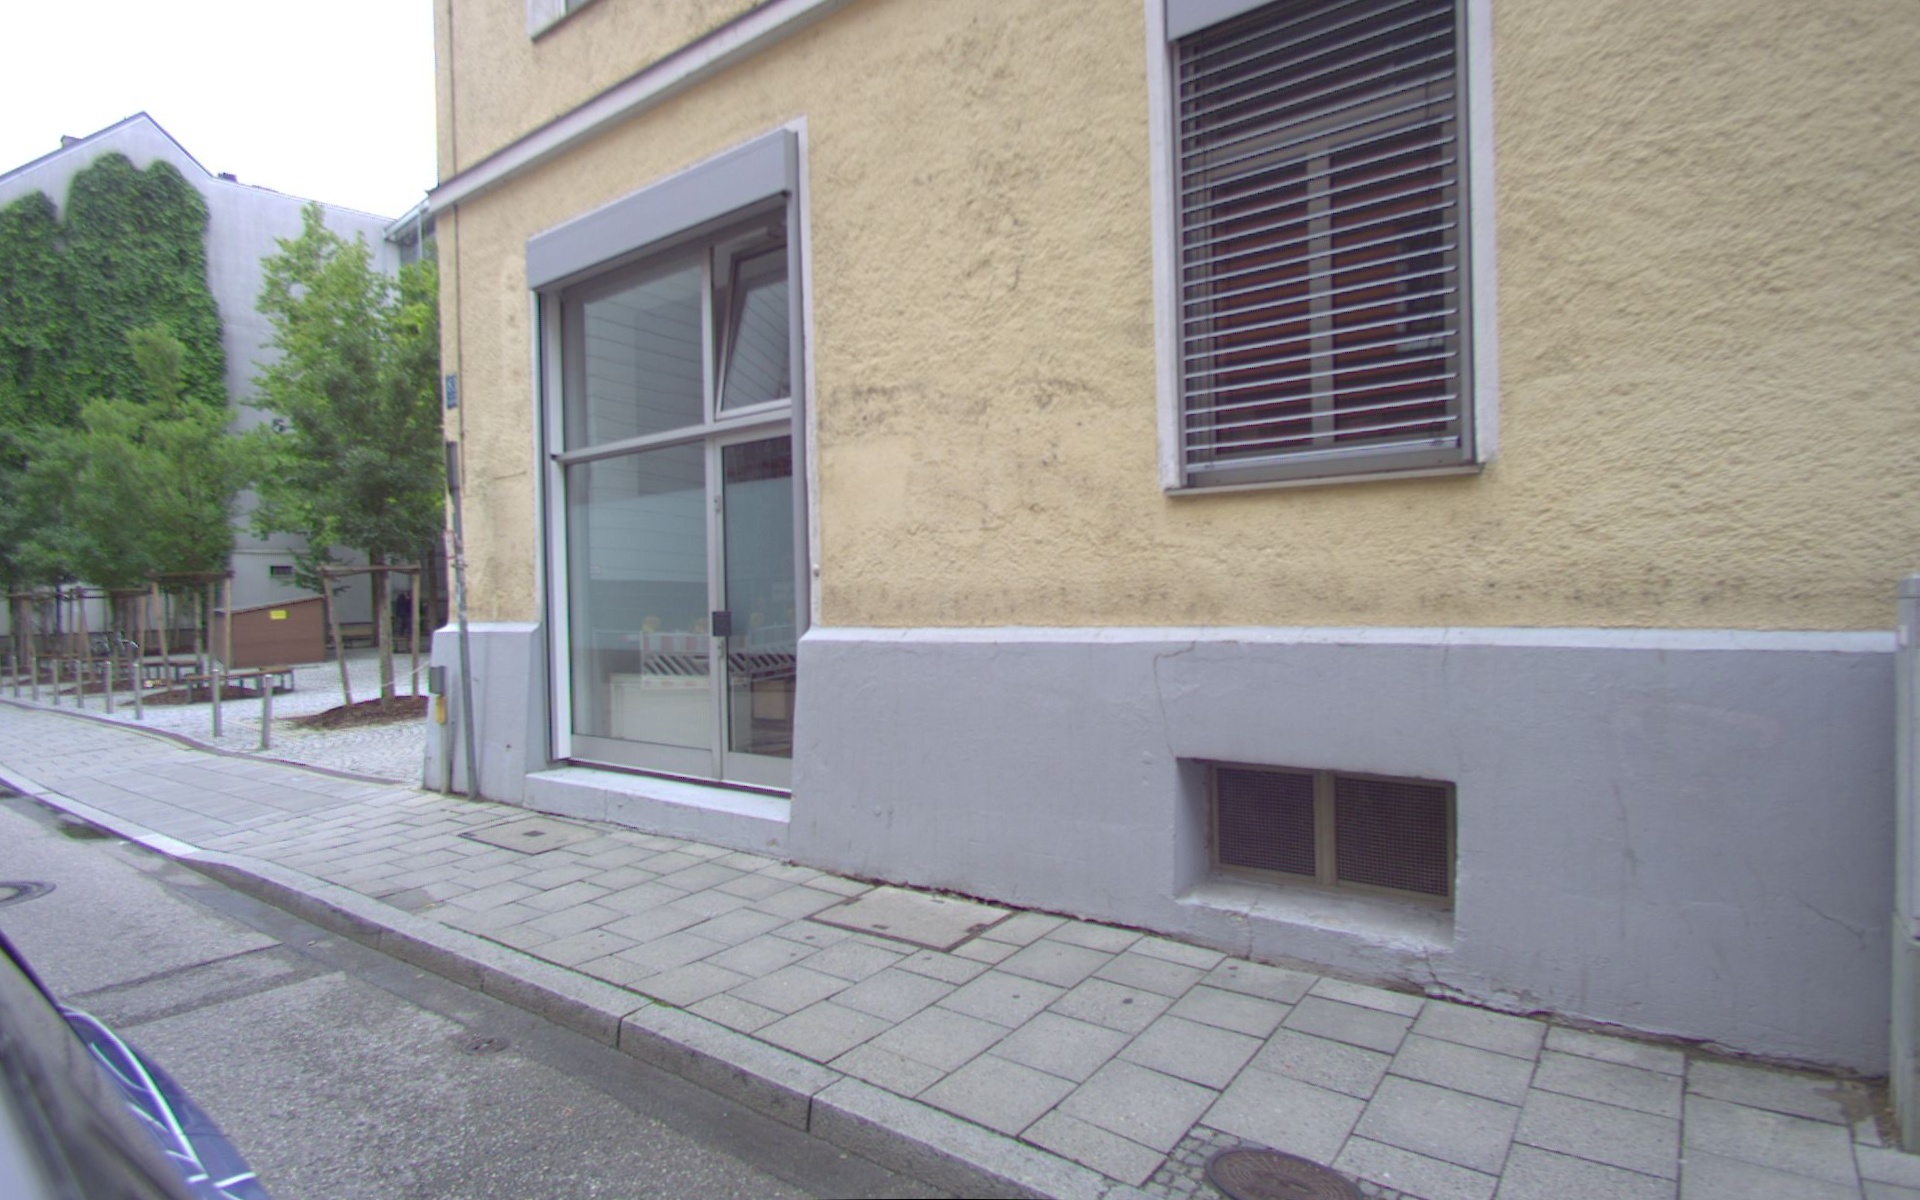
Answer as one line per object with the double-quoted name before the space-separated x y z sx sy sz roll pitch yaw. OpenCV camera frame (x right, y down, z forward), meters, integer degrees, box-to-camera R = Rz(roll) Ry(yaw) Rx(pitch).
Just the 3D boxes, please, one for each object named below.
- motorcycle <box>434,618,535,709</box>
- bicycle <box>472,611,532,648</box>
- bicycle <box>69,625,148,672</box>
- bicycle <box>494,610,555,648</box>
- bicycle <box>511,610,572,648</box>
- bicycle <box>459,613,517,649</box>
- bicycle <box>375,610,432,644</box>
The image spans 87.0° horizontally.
"motorcycle" -6.771 0.859 14.366 1.981 1.181 0.570 -1 1 43
"bicycle" -14.344 0.915 31.716 0.628 1.068 1.555 -2 0 41
"bicycle" -23.270 1.319 27.655 1.983 1.217 0.709 -1 1 20
"bicycle" -13.157 0.863 30.574 0.628 1.068 1.555 -2 0 41
"bicycle" -12.447 0.850 30.138 0.628 1.068 1.555 -2 0 41
"bicycle" -15.007 0.966 32.198 0.628 1.068 1.555 -2 0 41
"bicycle" -20.442 0.973 37.199 0.603 1.151 1.702 -1 0 43
